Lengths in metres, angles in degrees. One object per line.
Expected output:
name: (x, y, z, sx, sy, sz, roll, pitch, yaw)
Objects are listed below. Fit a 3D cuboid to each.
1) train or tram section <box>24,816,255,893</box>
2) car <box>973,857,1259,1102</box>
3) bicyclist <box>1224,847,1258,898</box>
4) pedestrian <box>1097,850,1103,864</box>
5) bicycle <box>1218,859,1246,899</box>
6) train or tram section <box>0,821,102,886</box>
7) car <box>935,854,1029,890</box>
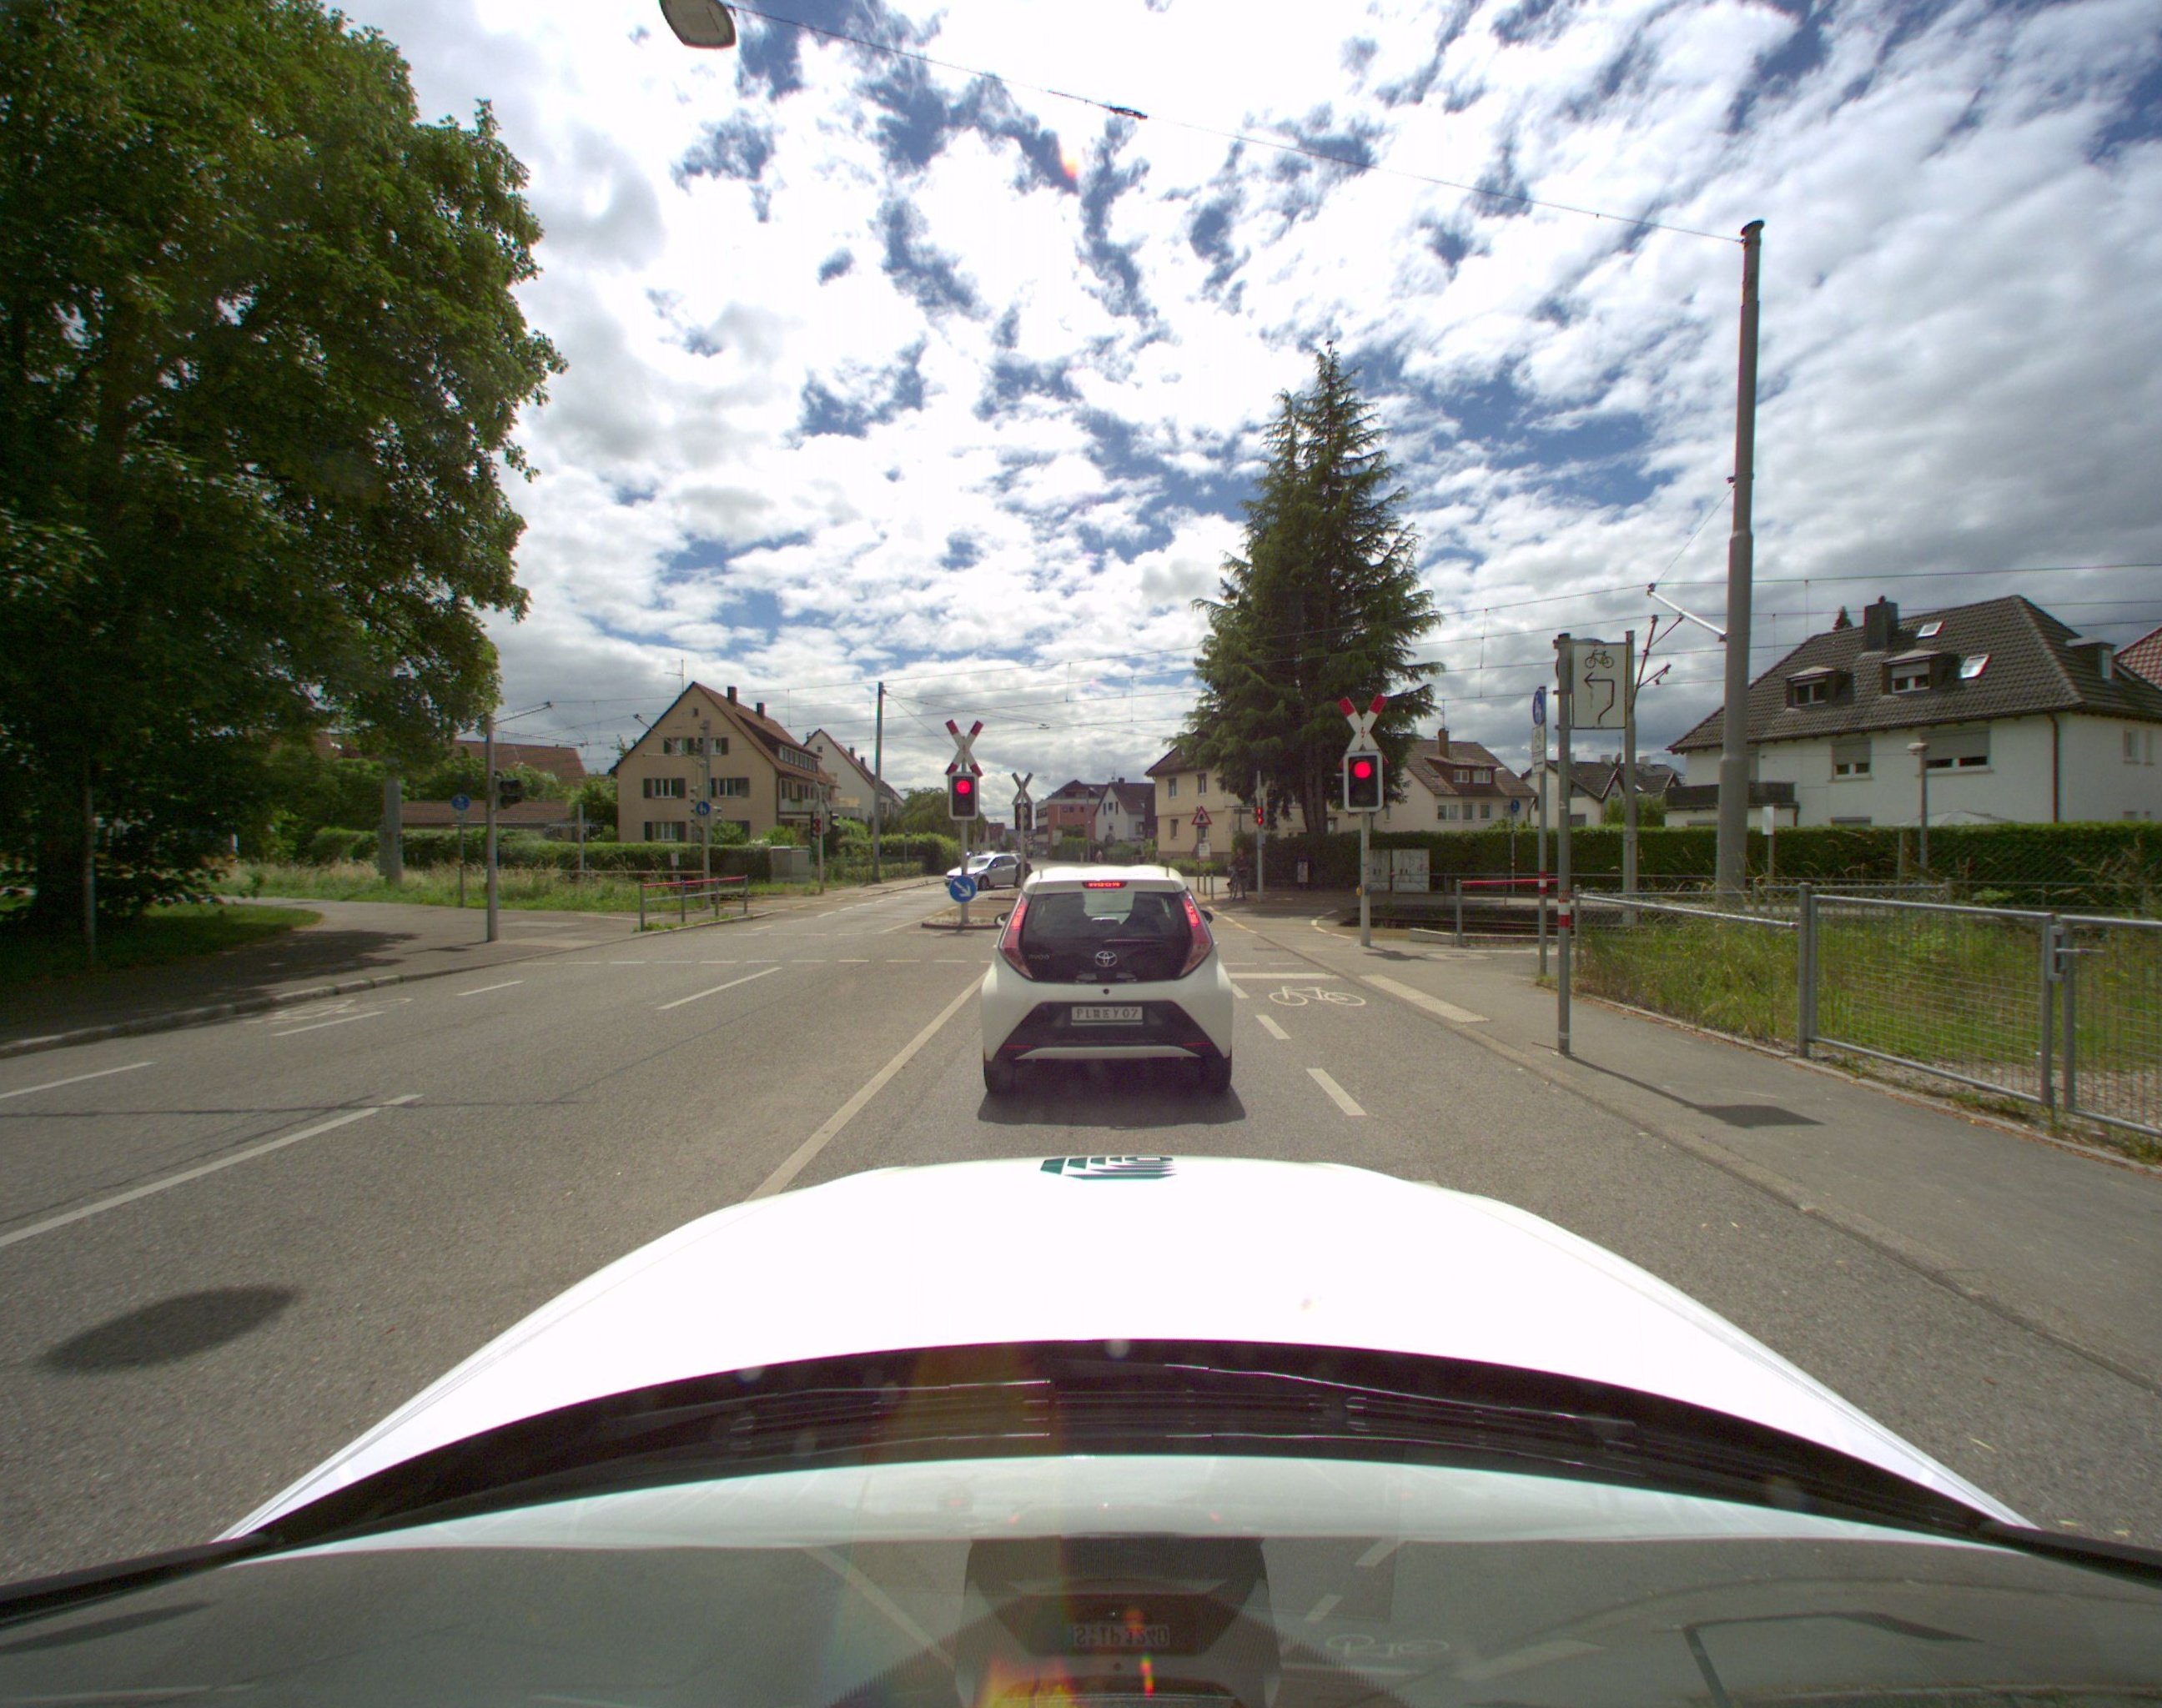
train or tram section: (-51.490, -0.030, 44.211, 18.885, 3.704, 2.936, 0, 1, 24)
car: (0.172, 0.757, 6.758, 1.716, 1.442, 3.706, 0, 0, -2)
bicyclist: (5.140, 0.573, 26.183, 0.839, 1.553, 0.755, -3, 2, -4)
pedestrian: (2.157, 0.339, 91.827, 0.723, 1.576, 0.804, 0, 0, 2)
bicycle: (4.853, 0.778, 26.225, 0.456, 1.172, 1.477, -3, 2, -4)
train or tram section: (-68.672, -0.082, 52.025, 18.885, 3.704, 2.936, 0, 1, 24)
car: (-4.151, 0.740, 34.782, 1.887, 1.441, 4.124, 0, 0, 30)
